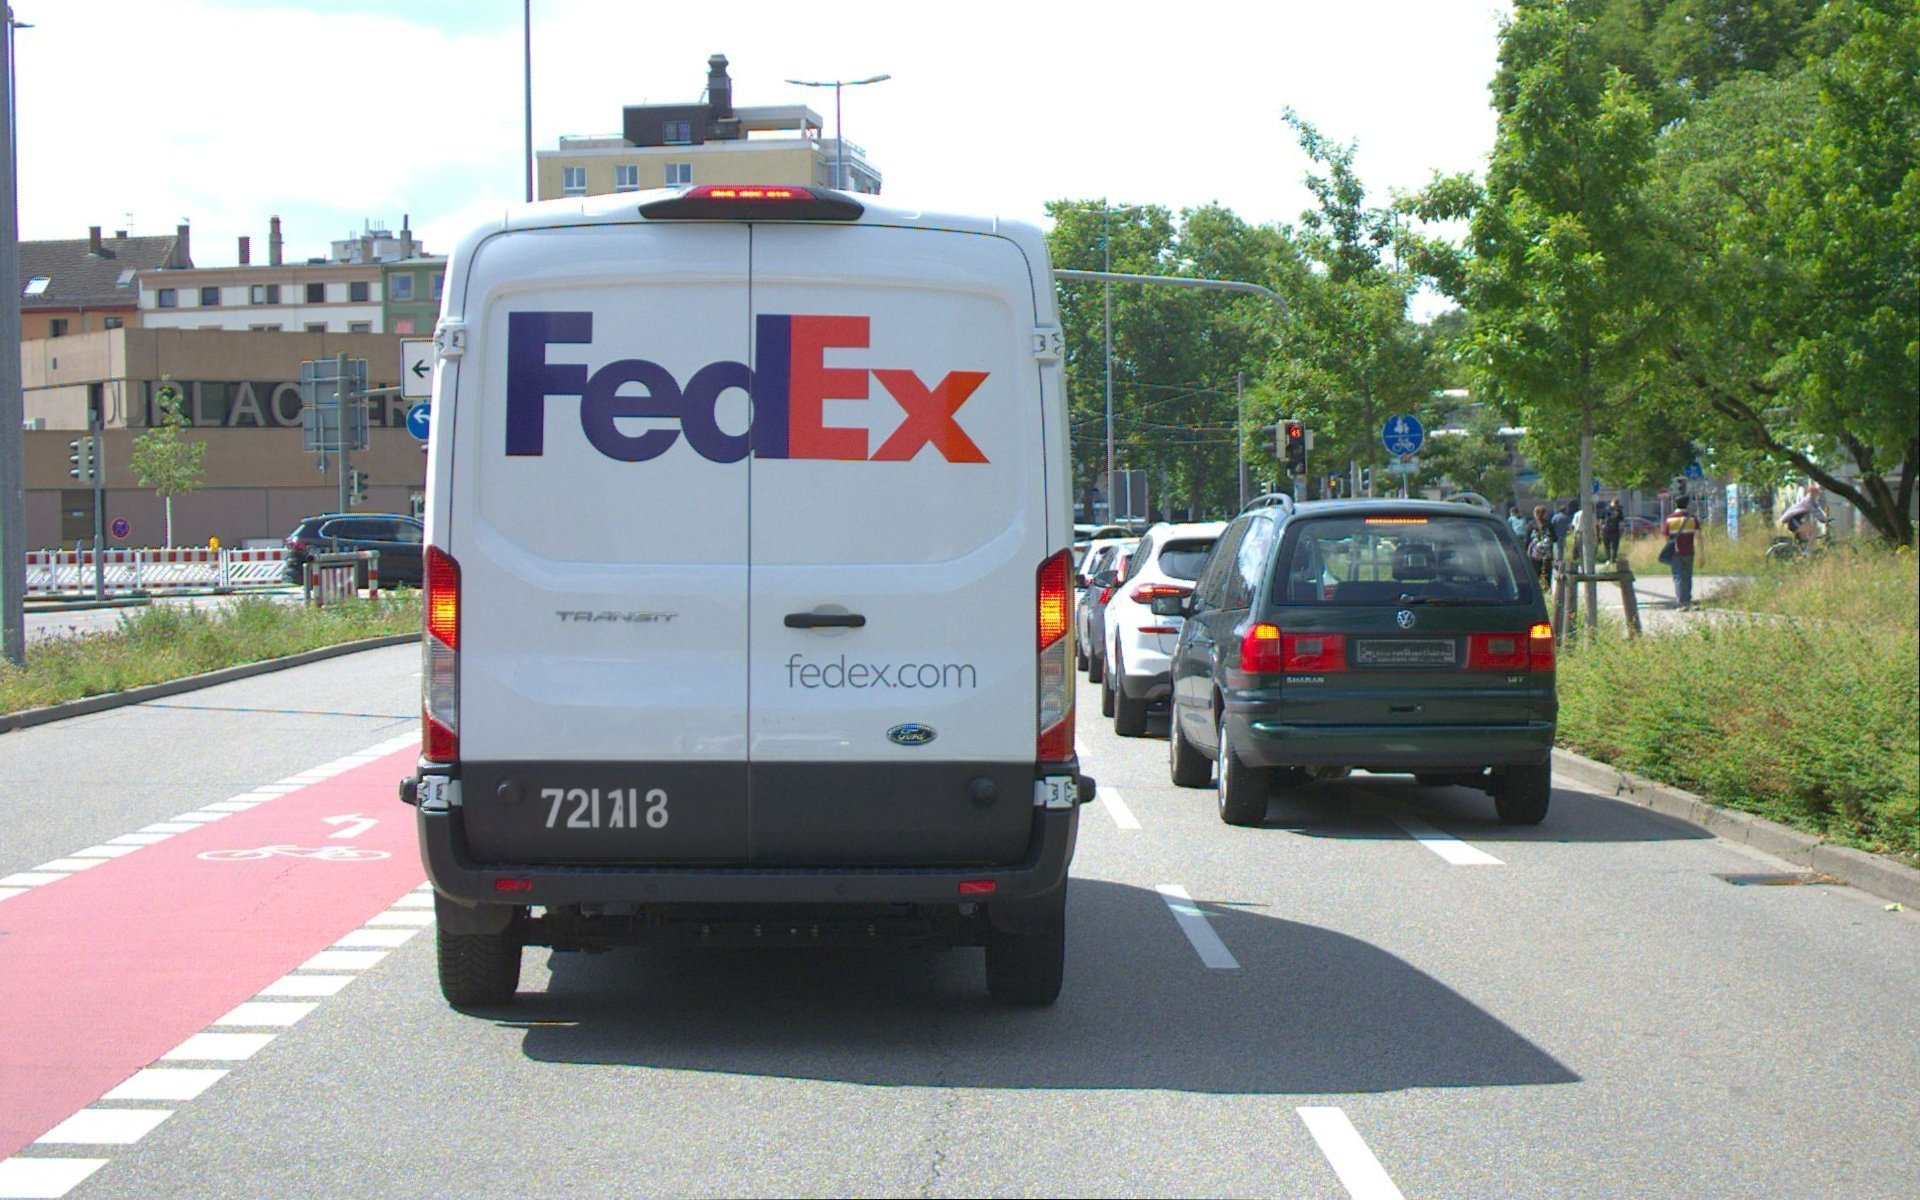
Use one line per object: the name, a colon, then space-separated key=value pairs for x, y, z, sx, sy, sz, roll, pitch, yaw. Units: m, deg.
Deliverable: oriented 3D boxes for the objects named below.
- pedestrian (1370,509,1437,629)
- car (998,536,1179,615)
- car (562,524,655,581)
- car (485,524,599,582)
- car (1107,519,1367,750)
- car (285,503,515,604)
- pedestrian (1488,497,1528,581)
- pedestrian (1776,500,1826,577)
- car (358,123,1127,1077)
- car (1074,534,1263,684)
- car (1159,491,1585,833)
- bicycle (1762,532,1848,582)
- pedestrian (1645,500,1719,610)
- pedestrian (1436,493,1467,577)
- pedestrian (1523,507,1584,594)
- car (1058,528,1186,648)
pedestrian: x=7.054 y=-0.495 z=54.699 sx=0.950 sy=1.886 sz=0.774 roll=-1 pitch=1 yaw=-1
car: x=3.047 y=-0.586 z=80.776 sx=1.998 sy=1.787 sz=4.361 roll=0 pitch=1 yaw=39
car: x=-10.501 y=-1.430 z=102.928 sx=1.879 sy=1.646 sz=3.999 roll=-1 pitch=1 yaw=7
car: x=-11.732 y=-1.329 z=96.729 sx=1.902 sy=1.579 sz=3.998 roll=-1 pitch=1 yaw=13
car: x=2.130 y=0.211 z=27.396 sx=1.798 sy=1.681 sz=4.000 roll=-1 pitch=1 yaw=1
car: x=-11.658 y=-0.967 z=71.504 sx=4.627 sy=2.007 sz=2.100 roll=-1 pitch=1 yaw=-11
pedestrian: x=12.411 y=-1.384 z=77.903 sx=0.679 sy=1.886 sz=0.574 roll=1 pitch=2 yaw=43
pedestrian: x=16.226 y=-1.185 z=66.307 sx=0.900 sy=1.467 sz=0.485 roll=0 pitch=1 yaw=18
car: x=-0.848 y=-0.053 z=12.452 sx=2.140 sy=2.643 sz=5.705 roll=0 pitch=1 yaw=-5
car: x=2.138 y=0.053 z=36.123 sx=1.798 sy=1.456 sz=3.838 roll=-1 pitch=1 yaw=1
car: x=2.213 y=0.259 z=19.615 sx=1.812 sy=1.728 sz=4.389 roll=0 pitch=1 yaw=-1
bicycle: x=16.293 y=-0.834 z=66.289 sx=1.572 sy=0.952 sz=0.485 roll=0 pitch=1 yaw=18
pedestrian: x=10.266 y=-0.643 z=48.888 sx=0.845 sy=1.533 sz=0.835 roll=-1 pitch=1 yaw=-1
pedestrian: x=11.088 y=-1.469 z=77.538 sx=0.574 sy=1.886 sz=0.679 roll=-1 pitch=1 yaw=-1
pedestrian: x=9.631 y=-0.812 z=55.804 sx=0.845 sy=1.384 sz=0.741 roll=-1 pitch=1 yaw=-1
car: x=2.008 y=-0.178 z=43.261 sx=1.484 sy=1.423 sz=3.433 roll=-1 pitch=1 yaw=1
